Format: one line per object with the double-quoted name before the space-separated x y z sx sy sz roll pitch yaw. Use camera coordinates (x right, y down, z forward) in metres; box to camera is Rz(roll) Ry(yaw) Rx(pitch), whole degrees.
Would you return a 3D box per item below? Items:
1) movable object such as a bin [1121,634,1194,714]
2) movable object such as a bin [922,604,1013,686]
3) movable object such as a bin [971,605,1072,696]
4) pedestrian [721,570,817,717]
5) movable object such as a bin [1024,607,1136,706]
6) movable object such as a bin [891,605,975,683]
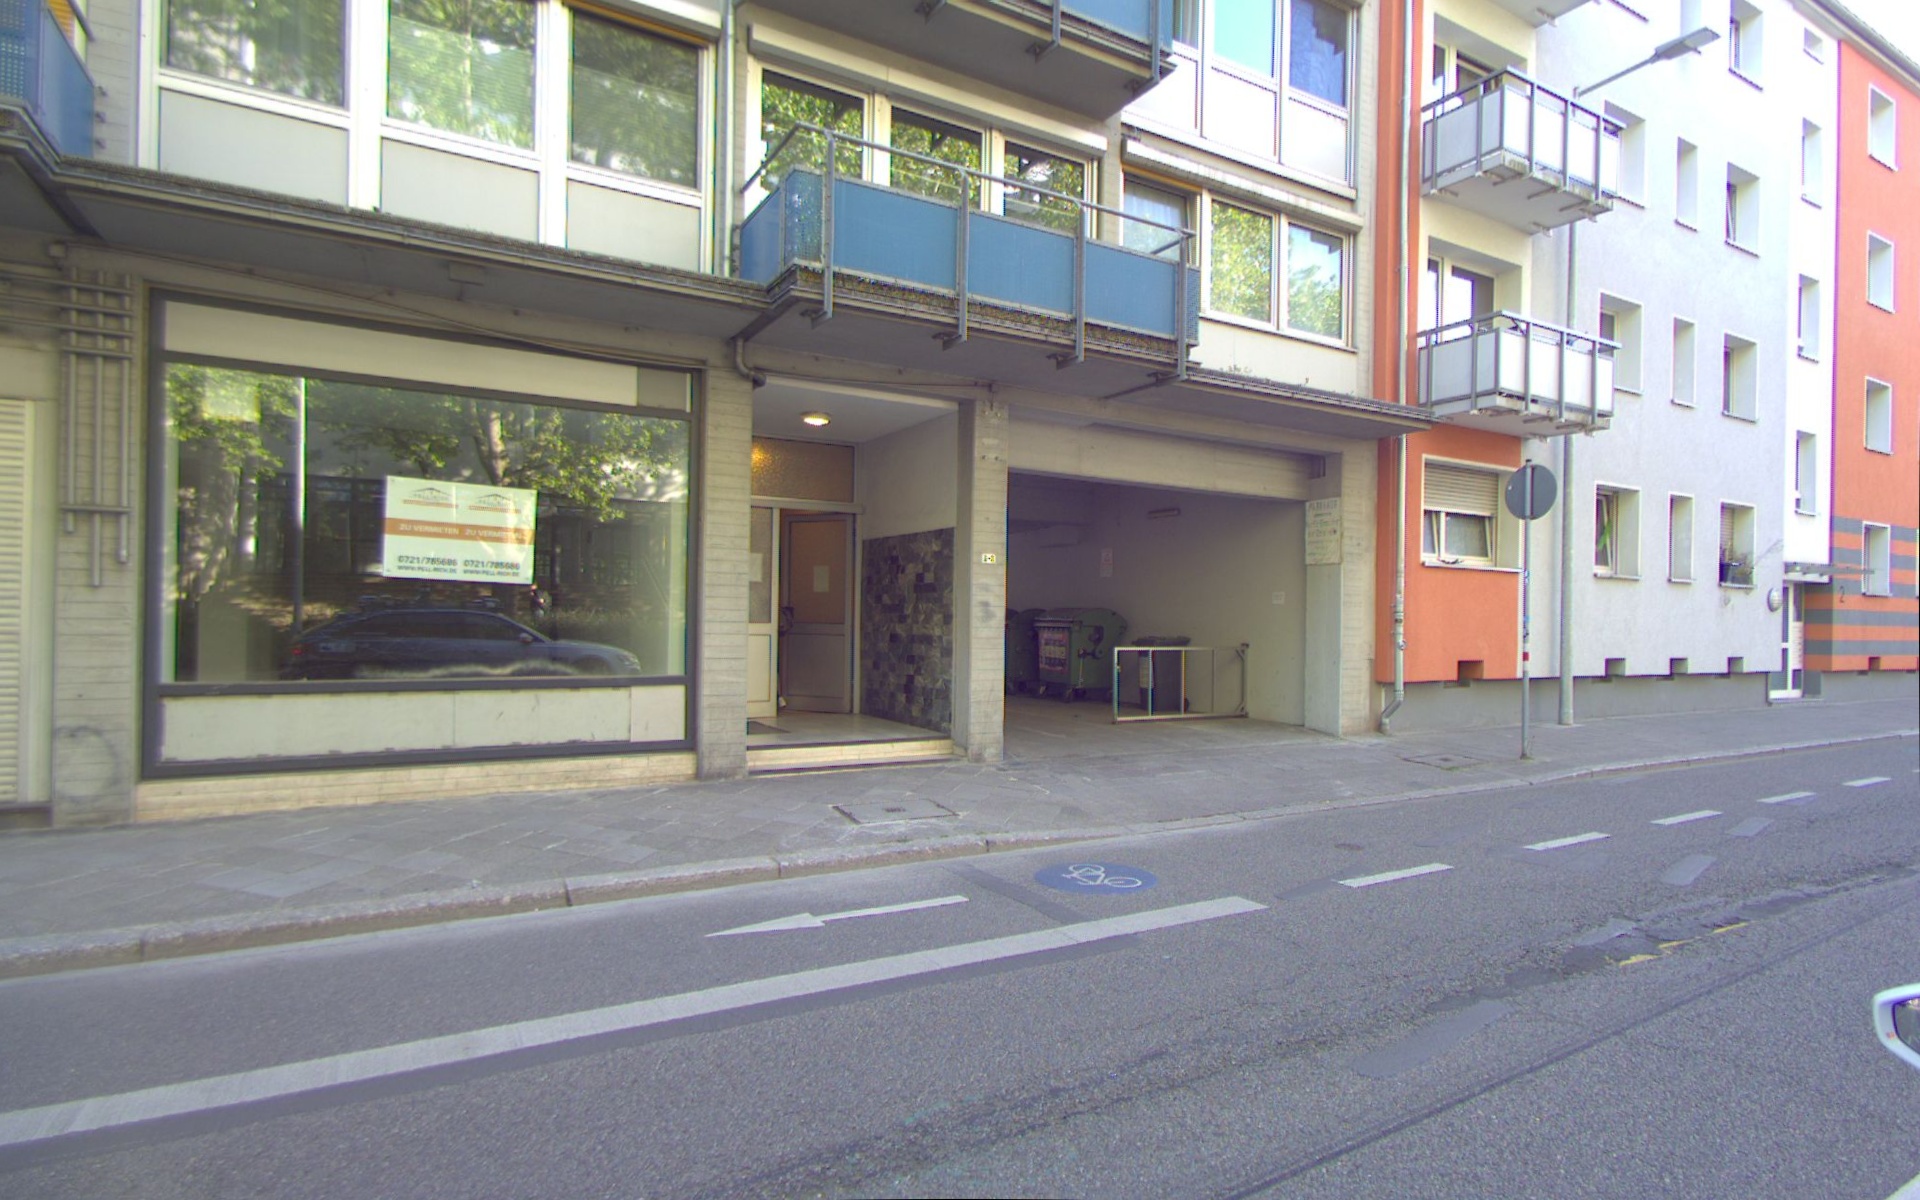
"movable object such as a bin" 2.852 1.055 14.523 0.707 1.089 0.735 2 0 -30
"movable object such as a bin" 0.121 0.821 18.767 1.182 1.452 1.300 2 0 -30
"movable object such as a bin" 1.034 0.842 17.192 1.182 1.452 1.300 2 0 -30
"pedestrian" -2.174 0.472 11.447 0.909 1.606 0.564 1 0 29
"movable object such as a bin" 1.874 0.861 15.805 1.182 1.452 1.300 2 0 -30
"movable object such as a bin" -0.547 0.851 19.931 1.182 1.452 1.300 2 0 -30
